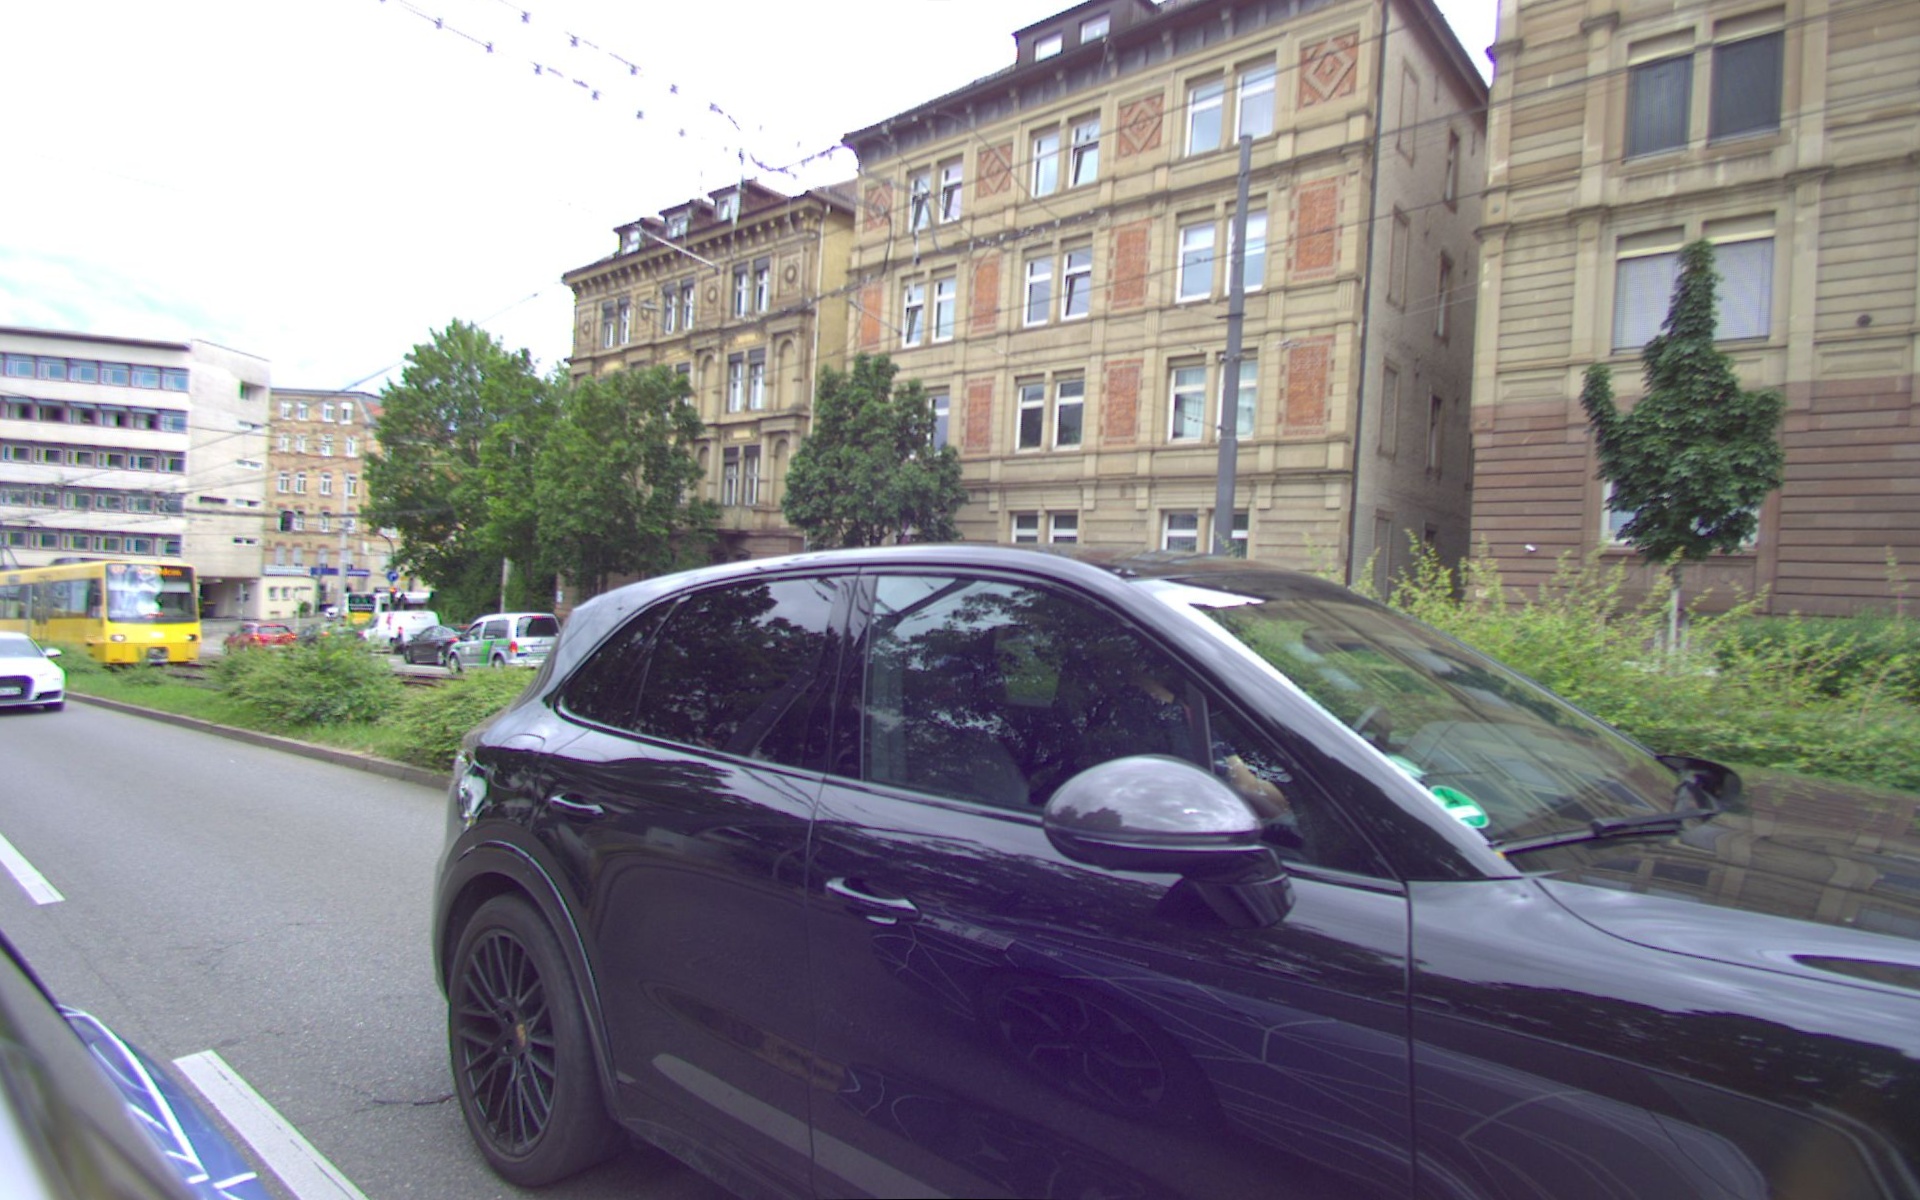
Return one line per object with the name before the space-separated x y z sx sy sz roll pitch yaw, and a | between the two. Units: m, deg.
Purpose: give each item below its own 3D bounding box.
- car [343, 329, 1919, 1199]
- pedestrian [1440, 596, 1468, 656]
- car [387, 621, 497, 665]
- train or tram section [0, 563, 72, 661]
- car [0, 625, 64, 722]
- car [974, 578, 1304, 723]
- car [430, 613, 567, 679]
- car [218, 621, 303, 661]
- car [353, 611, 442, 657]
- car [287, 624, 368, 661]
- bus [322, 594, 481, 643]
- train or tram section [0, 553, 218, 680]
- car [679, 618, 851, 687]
car | 0.569 0.644 2.274 4.779 1.697 2.006 0 -1 41
pedestrian | 13.873 0.741 28.442 0.559 1.666 0.615 -2 -3 40
car | -18.863 1.548 36.732 4.943 1.461 1.800 -2 -1 40
train or tram section | -42.199 0.466 41.922 14.151 3.691 2.866 0 0 26
car | -17.800 1.284 18.374 4.531 1.486 1.872 1 1 43
car | 2.603 0.715 15.426 4.638 1.890 1.880 -2 -2 39
car | -13.550 1.340 29.604 4.513 1.801 1.860 -2 -4 40
car | -29.731 1.689 42.954 4.404 1.530 1.973 0 0 41
car | -25.835 1.516 46.391 4.990 1.863 1.973 0 2 41
car | -27.812 1.820 44.483 4.402 1.437 1.725 0 1 39
bus | -38.015 1.186 69.669 3.351 3.052 11.518 -1 0 8
train or tram section | -30.080 0.450 34.615 14.436 3.691 2.858 0 1 34
car | -4.917 1.265 25.152 4.435 1.566 1.846 -2 -2 41
